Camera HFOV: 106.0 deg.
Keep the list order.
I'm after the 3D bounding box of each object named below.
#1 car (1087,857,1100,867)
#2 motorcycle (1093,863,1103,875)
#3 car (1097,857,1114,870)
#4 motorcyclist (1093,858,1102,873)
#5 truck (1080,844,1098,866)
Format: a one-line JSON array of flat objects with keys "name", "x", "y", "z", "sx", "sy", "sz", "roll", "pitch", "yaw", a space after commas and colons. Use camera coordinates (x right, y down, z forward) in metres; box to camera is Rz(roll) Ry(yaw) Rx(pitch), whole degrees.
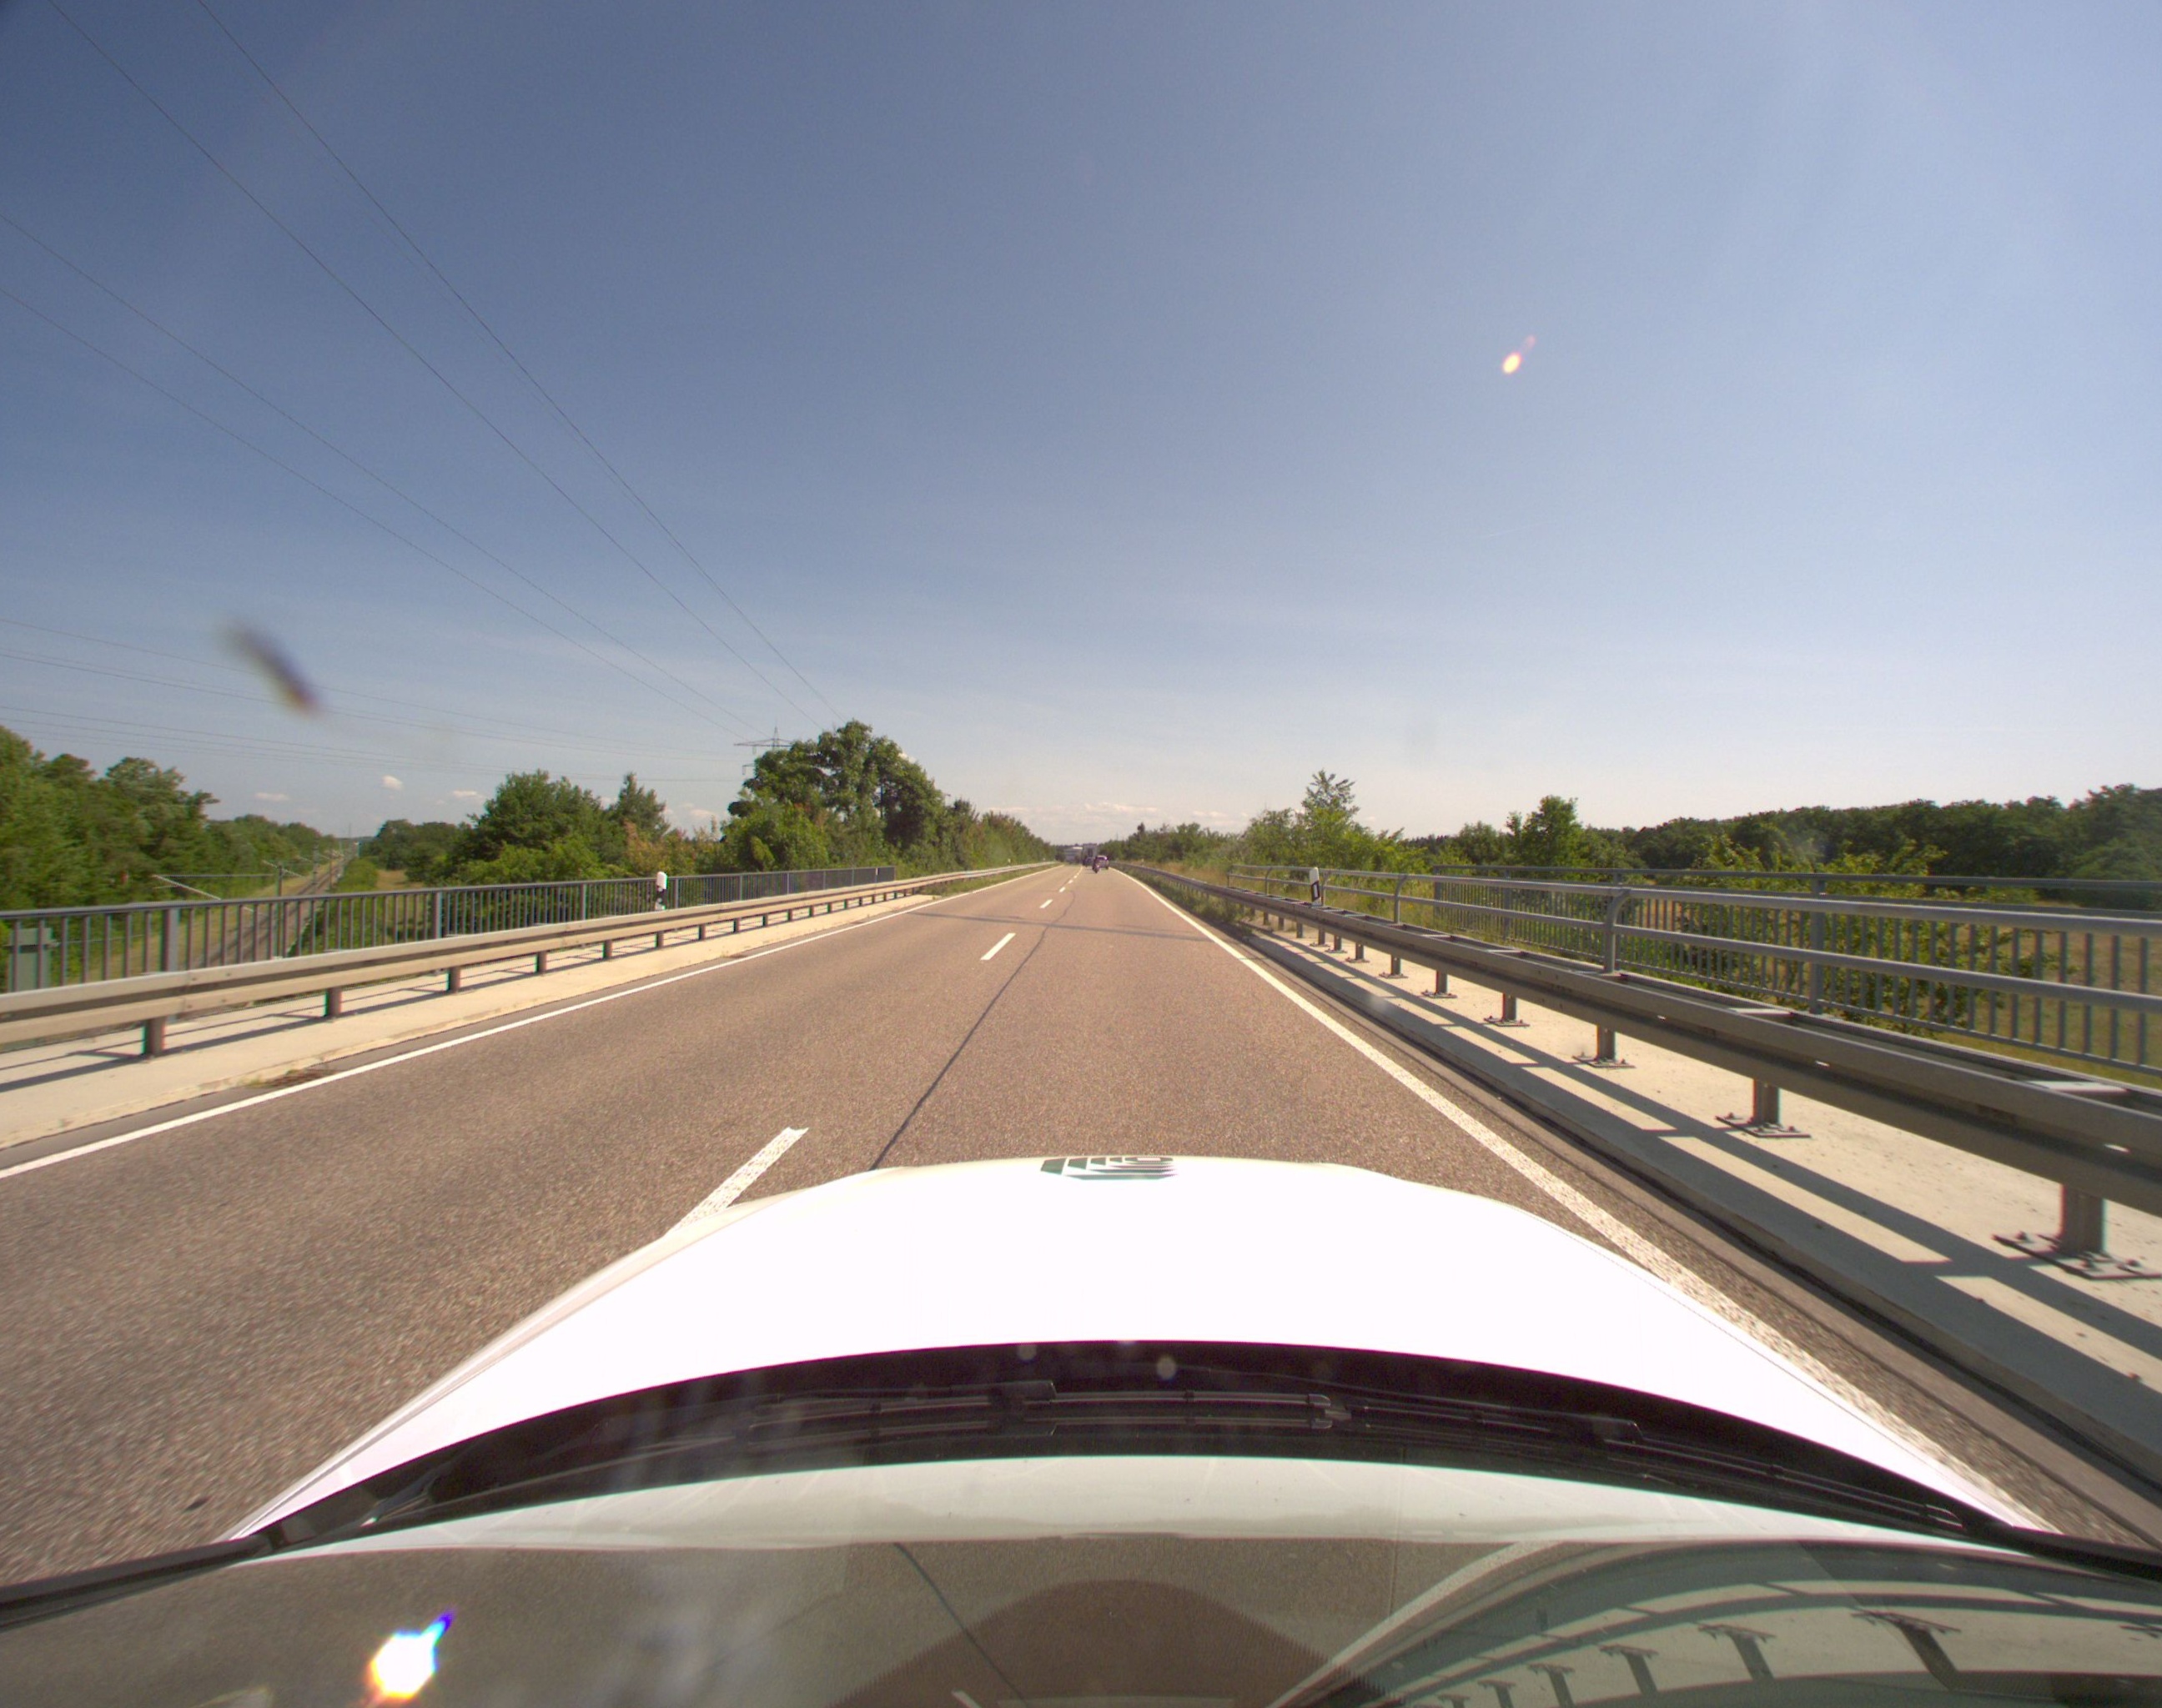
[{"name": "car", "x": 1.884, "y": 1.224, "z": 125.083, "sx": 1.858, "sy": 1.420, "sz": 4.003, "roll": 0, "pitch": 0, "yaw": 3}, {"name": "motorcycle", "x": 1.494, "y": 1.337, "z": 72.694, "sx": 0.777, "sy": 0.975, "sz": 2.364, "roll": 0, "pitch": 1, "yaw": 4}, {"name": "car", "x": 2.742, "y": 1.076, "z": 93.422, "sx": 1.820, "sy": 1.451, "sz": 3.999, "roll": 0, "pitch": 1, "yaw": 0}, {"name": "motorcyclist", "x": 1.503, "y": 1.010, "z": 72.712, "sx": 0.777, "sy": 1.325, "sz": 0.814, "roll": 0, "pitch": 0, "yaw": 3}, {"name": "truck", "x": 1.475, "y": 0.209, "z": 152.125, "sx": 3.232, "sy": 3.979, "sz": 9.441, "roll": 0, "pitch": 0, "yaw": -1}]
